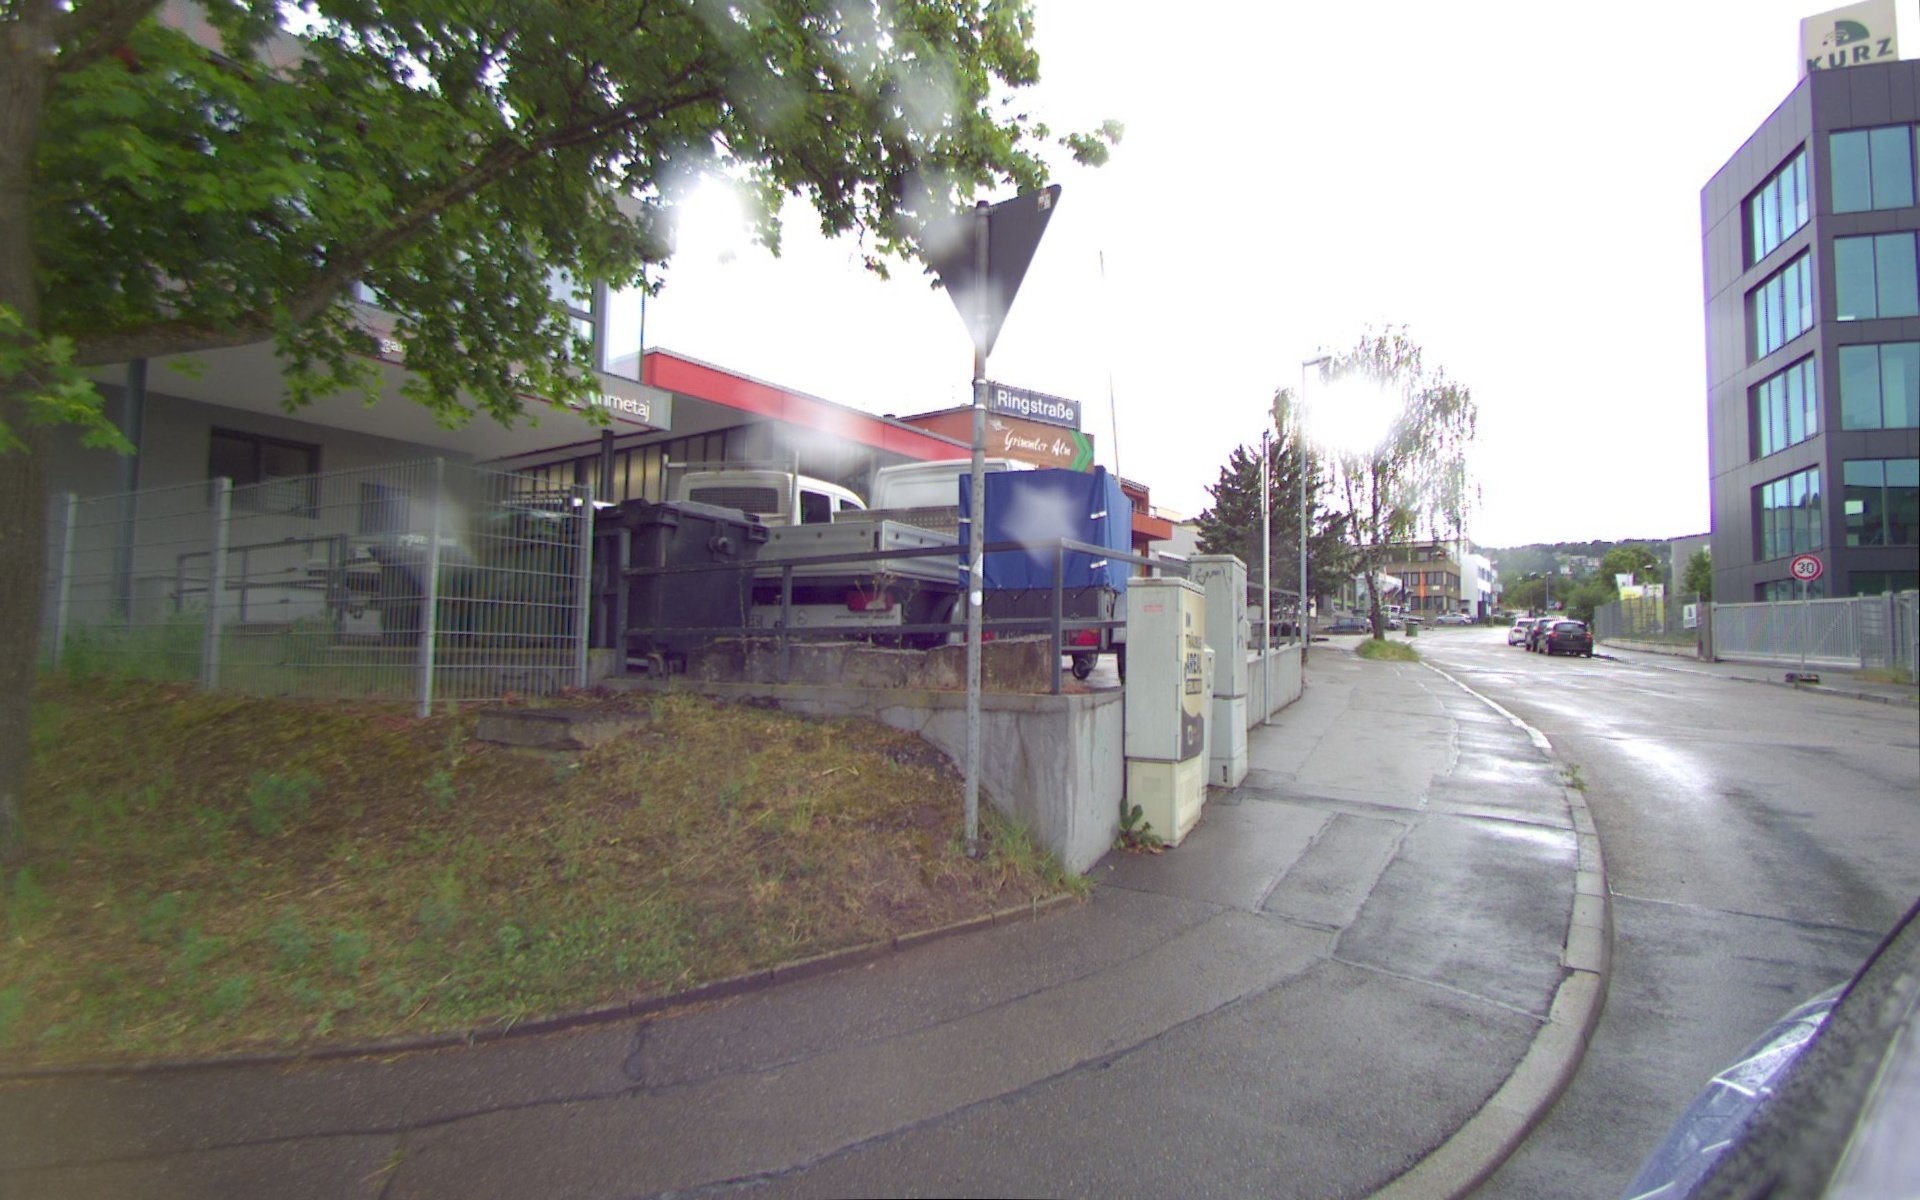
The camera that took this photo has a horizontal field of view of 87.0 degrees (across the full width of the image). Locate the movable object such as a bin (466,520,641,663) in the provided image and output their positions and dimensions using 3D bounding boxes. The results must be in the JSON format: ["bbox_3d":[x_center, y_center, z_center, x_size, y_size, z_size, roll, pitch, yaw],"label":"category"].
[{"bbox_3d":[-3.274,-0.060,8.170,1.046,1.056,0.873,0,-1,34],"label":"movable object such as a bin"}]

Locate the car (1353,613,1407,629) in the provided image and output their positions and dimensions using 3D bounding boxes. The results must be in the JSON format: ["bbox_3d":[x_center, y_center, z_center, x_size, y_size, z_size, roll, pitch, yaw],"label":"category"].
[{"bbox_3d":[41.509,2.069,100.013,4.598,1.516,1.915,0,-1,36],"label":"car"}]

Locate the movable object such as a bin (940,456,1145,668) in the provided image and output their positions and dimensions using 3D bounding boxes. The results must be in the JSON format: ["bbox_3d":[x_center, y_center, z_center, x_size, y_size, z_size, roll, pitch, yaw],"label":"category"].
[{"bbox_3d":[0.750,-0.265,8.340,1.293,1.520,1.847,0,-1,18],"label":"movable object such as a bin"}]

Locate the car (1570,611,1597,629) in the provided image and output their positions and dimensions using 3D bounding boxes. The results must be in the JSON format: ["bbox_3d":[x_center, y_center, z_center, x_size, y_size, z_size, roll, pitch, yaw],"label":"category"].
[{"bbox_3d":[70.816,2.264,114.925,1.992,2.039,3.940,0,-1,41],"label":"car"}]

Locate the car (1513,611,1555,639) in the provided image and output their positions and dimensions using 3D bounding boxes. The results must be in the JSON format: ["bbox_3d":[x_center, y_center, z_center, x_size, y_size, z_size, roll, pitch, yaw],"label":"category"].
[{"bbox_3d":[33.147,1.418,58.517,1.722,1.556,4.212,0,-1,25],"label":"car"}]

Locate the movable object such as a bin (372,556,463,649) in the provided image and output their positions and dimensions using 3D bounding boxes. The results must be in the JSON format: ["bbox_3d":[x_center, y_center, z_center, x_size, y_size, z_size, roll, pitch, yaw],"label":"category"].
[{"bbox_3d":[-4.919,0.024,9.179,0.519,0.812,0.533,0,-1,32],"label":"movable object such as a bin"}]

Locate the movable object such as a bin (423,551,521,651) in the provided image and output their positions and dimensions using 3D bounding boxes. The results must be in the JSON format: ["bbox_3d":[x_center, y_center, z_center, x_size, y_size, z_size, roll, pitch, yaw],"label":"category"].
[{"bbox_3d":[-4.195,0.010,8.712,0.562,0.828,0.533,0,-1,32],"label":"movable object such as a bin"}]

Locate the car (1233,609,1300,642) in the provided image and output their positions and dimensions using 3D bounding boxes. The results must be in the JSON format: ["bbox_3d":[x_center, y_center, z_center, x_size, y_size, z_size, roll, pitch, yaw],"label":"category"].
[{"bbox_3d":[18.707,1.587,61.789,3.426,1.520,1.596,-11,-8,38],"label":"car"}]

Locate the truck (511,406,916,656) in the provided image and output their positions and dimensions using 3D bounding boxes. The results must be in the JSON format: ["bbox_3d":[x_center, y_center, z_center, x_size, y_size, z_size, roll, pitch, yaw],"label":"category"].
[{"bbox_3d":[-2.653,-0.634,12.270,2.227,2.372,4.792,0,-1,26],"label":"truck"}]

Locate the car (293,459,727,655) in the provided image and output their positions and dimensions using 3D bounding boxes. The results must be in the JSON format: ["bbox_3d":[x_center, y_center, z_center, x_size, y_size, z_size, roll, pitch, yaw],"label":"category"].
[{"bbox_3d":[-5.512,-0.426,13.164,2.046,2.039,4.884,0,-1,30],"label":"car"}]

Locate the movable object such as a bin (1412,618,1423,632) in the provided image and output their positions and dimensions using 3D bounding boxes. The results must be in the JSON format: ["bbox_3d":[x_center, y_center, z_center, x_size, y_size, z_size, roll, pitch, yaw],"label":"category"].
[{"bbox_3d":[34.731,1.892,76.866,0.730,1.104,0.588,0,-1,30],"label":"movable object such as a bin"}]

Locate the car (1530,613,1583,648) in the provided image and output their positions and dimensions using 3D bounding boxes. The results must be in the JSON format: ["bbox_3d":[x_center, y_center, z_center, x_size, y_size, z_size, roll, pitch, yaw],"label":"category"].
[{"bbox_3d":[28.454,1.414,48.372,1.619,1.578,4.051,0,-1,23],"label":"car"}]

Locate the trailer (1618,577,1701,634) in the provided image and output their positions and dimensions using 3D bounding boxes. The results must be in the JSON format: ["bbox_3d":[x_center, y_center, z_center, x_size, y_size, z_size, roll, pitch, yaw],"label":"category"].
[{"bbox_3d":[53.076,0.430,76.910,2.338,4.141,4.709,1,-1,-16],"label":"trailer"}]

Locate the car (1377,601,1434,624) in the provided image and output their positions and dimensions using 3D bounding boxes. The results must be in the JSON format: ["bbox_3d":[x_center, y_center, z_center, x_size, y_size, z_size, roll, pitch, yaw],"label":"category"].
[{"bbox_3d":[47.273,1.301,107.447,5.129,2.323,2.171,0,-1,38],"label":"car"}]

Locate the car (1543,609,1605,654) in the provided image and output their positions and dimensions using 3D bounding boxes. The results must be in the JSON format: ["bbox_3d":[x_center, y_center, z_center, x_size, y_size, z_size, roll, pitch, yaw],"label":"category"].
[{"bbox_3d":[26.312,1.324,43.481,1.725,1.820,3.926,0,-1,23],"label":"car"}]

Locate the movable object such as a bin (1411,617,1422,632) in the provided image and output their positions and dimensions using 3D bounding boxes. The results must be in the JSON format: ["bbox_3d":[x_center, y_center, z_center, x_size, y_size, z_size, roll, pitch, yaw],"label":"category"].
[{"bbox_3d":[34.418,1.877,76.335,0.730,1.104,0.588,0,-1,30],"label":"movable object such as a bin"}]

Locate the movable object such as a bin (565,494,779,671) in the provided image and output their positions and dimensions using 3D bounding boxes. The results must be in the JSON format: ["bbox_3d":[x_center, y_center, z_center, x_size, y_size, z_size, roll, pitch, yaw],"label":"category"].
[{"bbox_3d":[-2.109,-0.114,7.464,1.133,1.177,1.015,0,-1,32],"label":"movable object such as a bin"}]

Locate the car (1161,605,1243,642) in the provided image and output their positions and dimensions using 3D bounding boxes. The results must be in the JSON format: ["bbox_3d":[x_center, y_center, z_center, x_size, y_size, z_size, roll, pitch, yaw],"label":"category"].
[{"bbox_3d":[11.176,1.087,46.571,1.991,1.600,4.448,-3,-2,38],"label":"car"}]

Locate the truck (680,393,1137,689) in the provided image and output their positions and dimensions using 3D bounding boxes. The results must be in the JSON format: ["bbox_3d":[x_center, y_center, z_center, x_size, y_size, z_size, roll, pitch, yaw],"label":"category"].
[{"bbox_3d":[-0.109,-0.419,10.626,2.095,2.242,5.591,0,-1,30],"label":"truck"}]

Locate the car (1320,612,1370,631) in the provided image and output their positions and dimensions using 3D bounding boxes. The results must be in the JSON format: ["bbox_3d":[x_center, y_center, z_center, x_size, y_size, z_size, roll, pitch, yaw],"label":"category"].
[{"bbox_3d":[32.627,1.822,85.705,3.725,1.560,1.611,0,-1,34],"label":"car"}]
